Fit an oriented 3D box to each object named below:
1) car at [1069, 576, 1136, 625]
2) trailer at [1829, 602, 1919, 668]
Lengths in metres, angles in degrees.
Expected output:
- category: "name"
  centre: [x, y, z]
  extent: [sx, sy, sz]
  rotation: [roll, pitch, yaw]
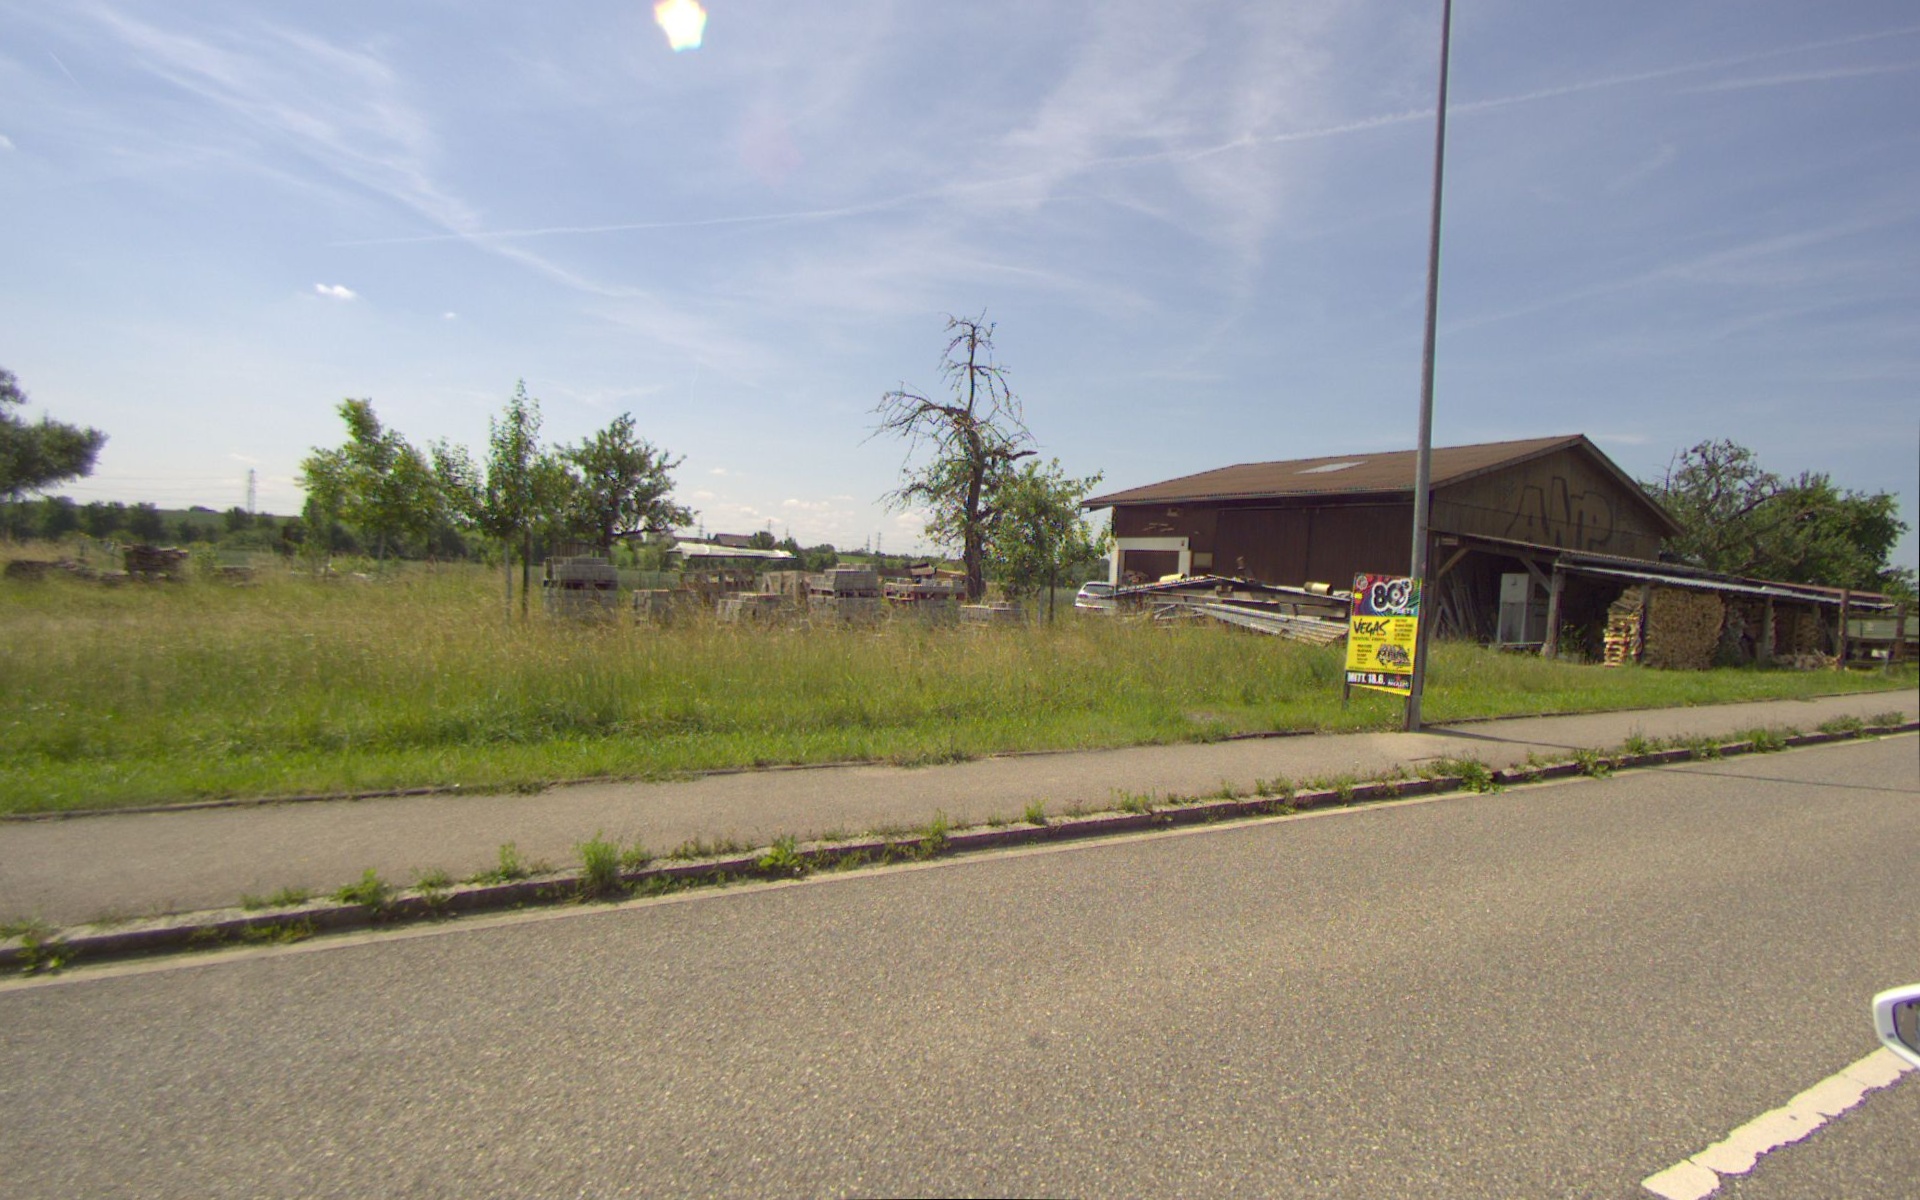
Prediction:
- category: "car"
  centre: [5.202, -0.024, 36.182]
  extent: [1.758, 1.539, 4.001]
  rotation: [4, 3, 16]
- category: "trailer"
  centre: [27.151, 0.997, 28.854]
  extent: [4.979, 1.726, 2.140]
  rotation: [2, 0, -35]
